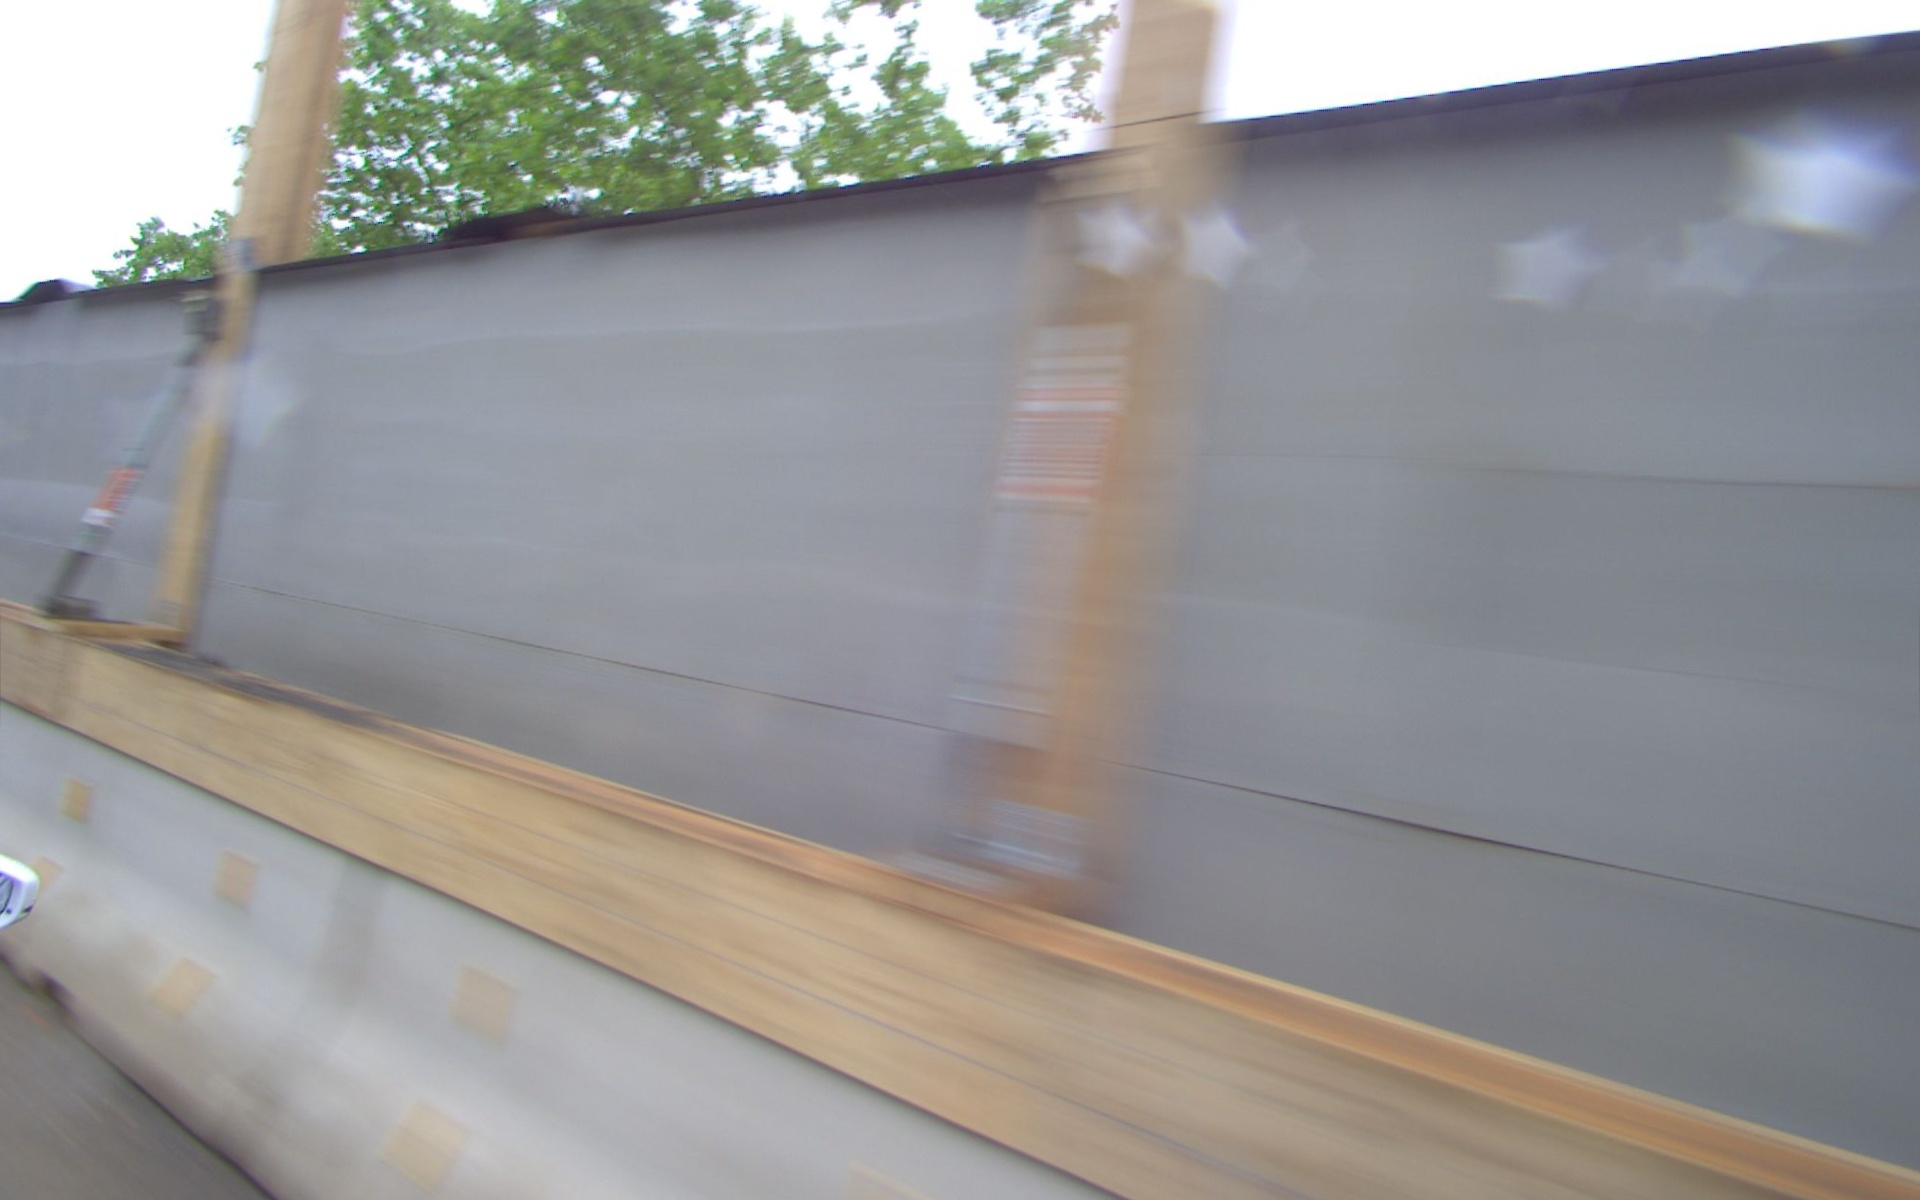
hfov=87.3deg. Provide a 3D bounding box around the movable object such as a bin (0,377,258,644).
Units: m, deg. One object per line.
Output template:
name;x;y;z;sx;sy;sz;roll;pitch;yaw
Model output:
movable object such as a bin;-13.520;-1.321;15.267;5.500;3.106;2.501;6;-5;34
